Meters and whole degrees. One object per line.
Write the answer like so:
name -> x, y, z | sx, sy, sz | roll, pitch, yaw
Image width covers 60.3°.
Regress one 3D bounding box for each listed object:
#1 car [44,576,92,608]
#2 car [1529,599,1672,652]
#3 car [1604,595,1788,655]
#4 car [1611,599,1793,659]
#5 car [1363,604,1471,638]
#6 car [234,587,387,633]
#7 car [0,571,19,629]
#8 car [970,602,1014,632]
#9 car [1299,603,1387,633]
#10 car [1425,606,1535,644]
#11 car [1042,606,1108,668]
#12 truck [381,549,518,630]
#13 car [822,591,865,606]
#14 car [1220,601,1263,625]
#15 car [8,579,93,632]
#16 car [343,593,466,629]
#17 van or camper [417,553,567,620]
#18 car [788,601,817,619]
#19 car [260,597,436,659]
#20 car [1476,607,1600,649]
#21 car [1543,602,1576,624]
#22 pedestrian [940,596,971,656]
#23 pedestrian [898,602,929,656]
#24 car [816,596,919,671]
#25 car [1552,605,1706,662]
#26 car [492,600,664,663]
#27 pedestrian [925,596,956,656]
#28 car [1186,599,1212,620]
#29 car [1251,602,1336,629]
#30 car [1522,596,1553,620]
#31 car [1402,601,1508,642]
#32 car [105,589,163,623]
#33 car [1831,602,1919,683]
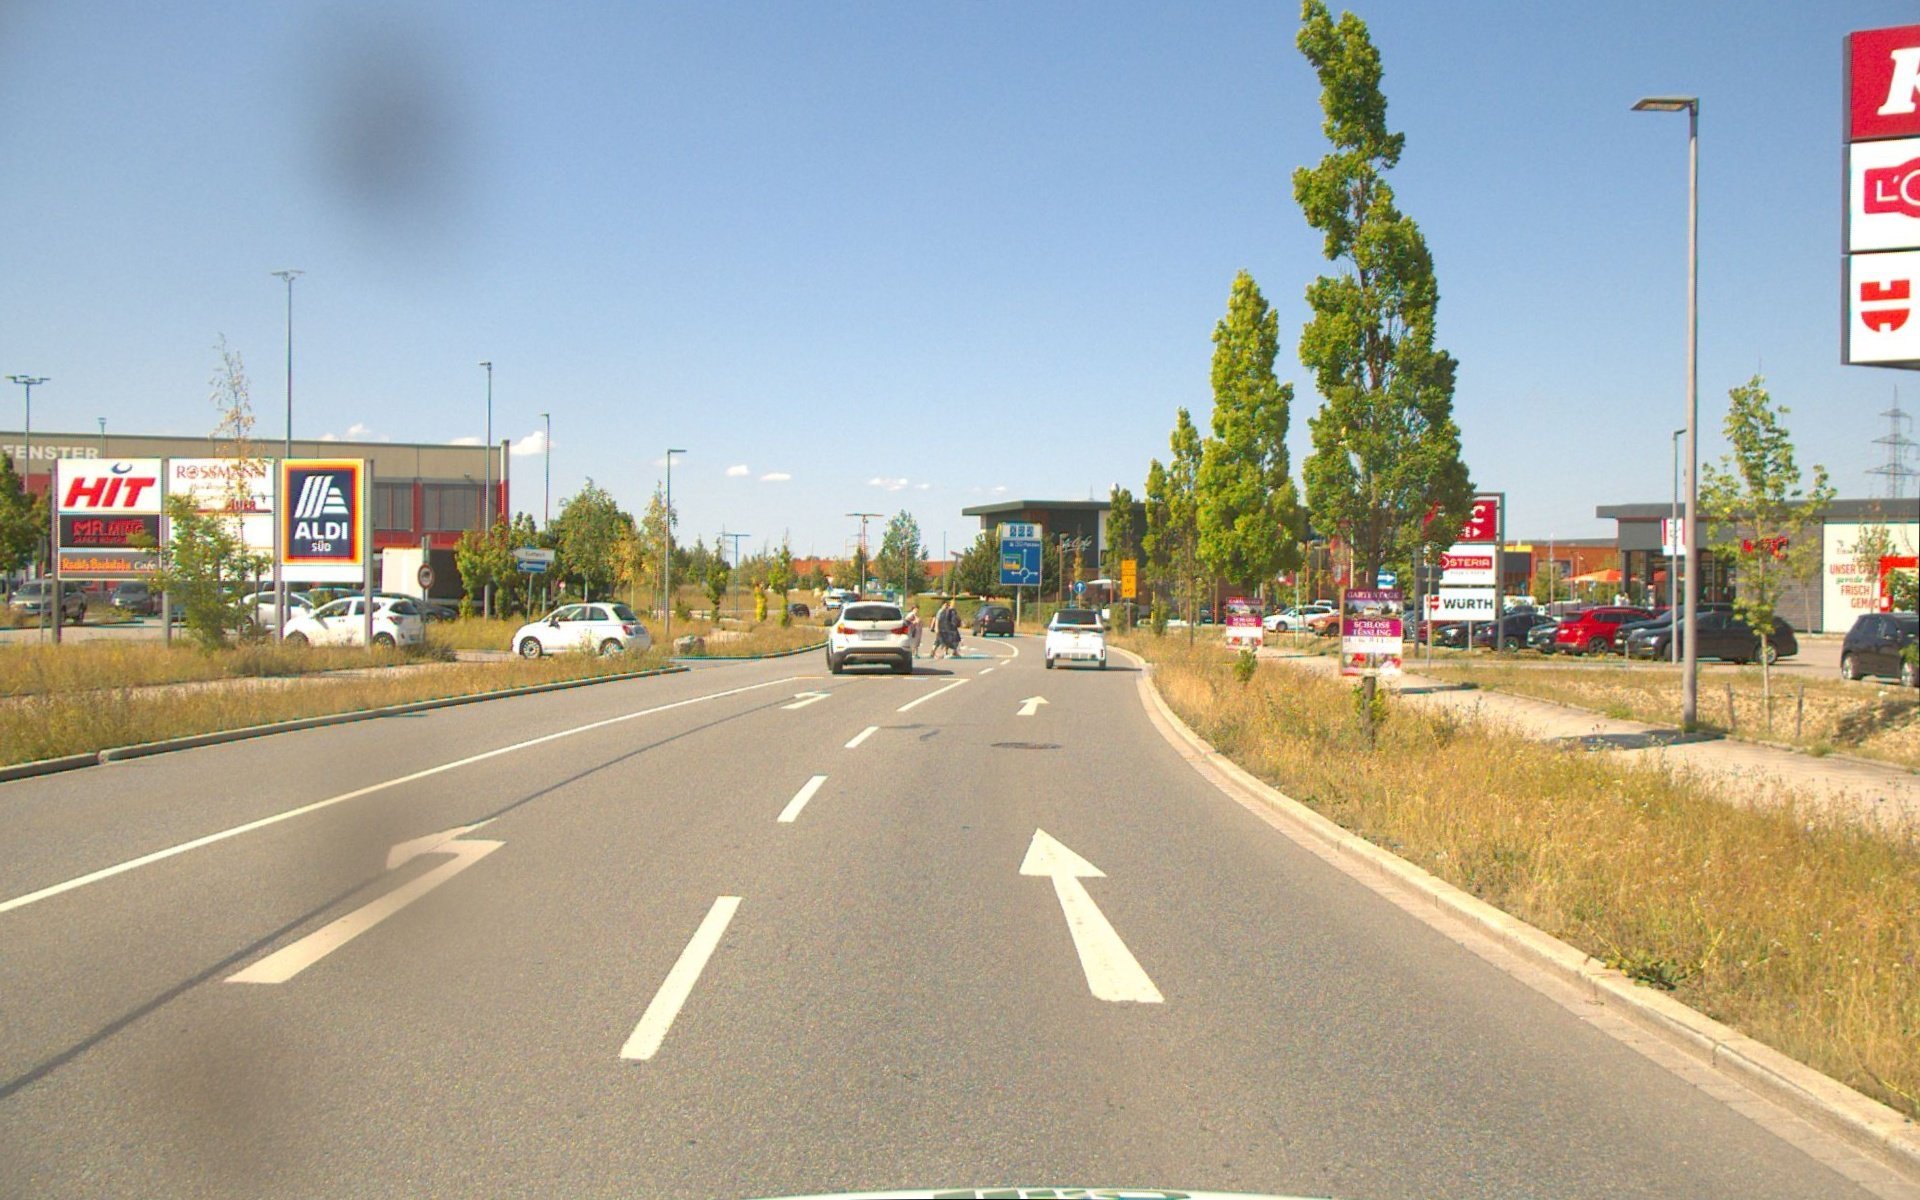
car -> -47.804, -0.420, 88.729 | 1.636, 1.643, 4.060 | 0, 0, -19
car -> 22.357, 0.880, 57.821 | 4.315, 1.765, 1.791 | -1, 0, 0
car -> 22.816, 0.765, 51.373 | 4.881, 1.765, 1.939 | -1, 0, -2
car -> 21.183, 0.810, 47.301 | 4.317, 1.594, 1.994 | -1, 0, -2
car -> 21.257, 0.967, 77.009 | 4.469, 1.516, 1.866 | -1, 0, -7
car -> -22.173, 0.340, 56.600 | 4.514, 1.538, 1.837 | 0, 0, -3
car -> -35.914, -0.002, 60.279 | 1.802, 2.101, 4.362 | 0, 0, -16
car -> 1.608, 0.856, 84.357 | 1.587, 1.459, 3.783 | 0, 0, -10
car -> 20.116, 0.930, 86.902 | 4.129, 1.516, 1.864 | 0, 0, -11
car -> 21.936, 1.047, 69.867 | 4.077, 1.474, 1.787 | -1, 0, -10
car -> 2.906, 0.900, 41.831 | 1.582, 1.459, 3.794 | 0, 0, 4
truck -> -23.323, -0.455, 75.948 | 2.267, 3.525, 7.499 | 0, 0, 16
car -> -11.425, -0.136, 161.958 | 1.965, 1.489, 3.975 | 0, 0, 43
car -> 17.872, 0.783, 104.929 | 1.663, 1.487, 4.166 | 0, 0, 25
car -> -33.600, 0.202, 61.201 | 1.802, 1.855, 4.362 | 0, 0, -16
car -> -22.525, 0.438, 67.235 | 4.335, 1.408, 1.974 | 0, 0, -3
van or camper -> -25.080, -0.695, 88.913 | 7.558, 3.529, 2.547 | 0, 0, -13
car -> -13.316, 0.823, 140.006 | 1.959, 1.465, 3.987 | 0, 0, -13
car -> -16.196, 0.718, 43.882 | 3.902, 1.574, 1.919 | 0, 0, 6
car -> 21.547, 1.038, 61.747 | 4.314, 1.474, 1.792 | 0, 1, 19
car -> 40.812, 0.846, 112.510 | 1.750, 1.476, 4.166 | 0, 0, 25
pedestrian -> -0.129, 0.724, 46.843 | 0.784, 1.658, 0.805 | 1, 0, 3
pedestrian -> -1.301, 0.809, 46.369 | 0.776, 1.496, 0.949 | 1, 0, 3
car -> -2.120, 0.707, 36.882 | 1.876, 1.574, 4.217 | 0, 0, -9
car -> 21.958, 1.095, 54.392 | 4.314, 1.765, 1.792 | -1, 0, 1
car -> -9.945, 0.797, 43.198 | 3.902, 1.574, 1.919 | 0, 0, 10
pedestrian -> -0.535, 0.727, 46.274 | 0.792, 1.657, 0.866 | 1, 0, 3
car -> 18.649, 0.733, 128.994 | 1.754, 1.632, 4.003 | 0, 0, 13
car -> 19.004, 0.874, 94.326 | 4.444, 1.516, 1.864 | 0, 0, -11
car -> 42.754, 0.589, 122.377 | 1.750, 1.788, 4.166 | 0, 0, 25
car -> 21.619, 0.915, 72.328 | 4.071, 1.694, 1.867 | -1, 0, -4
car -> -38.786, 0.278, 77.752 | 1.804, 1.589, 4.358 | 0, 0, -19
car -> 19.646, 0.830, 33.780 | 1.742, 1.567, 4.171 | 0, 0, 4
